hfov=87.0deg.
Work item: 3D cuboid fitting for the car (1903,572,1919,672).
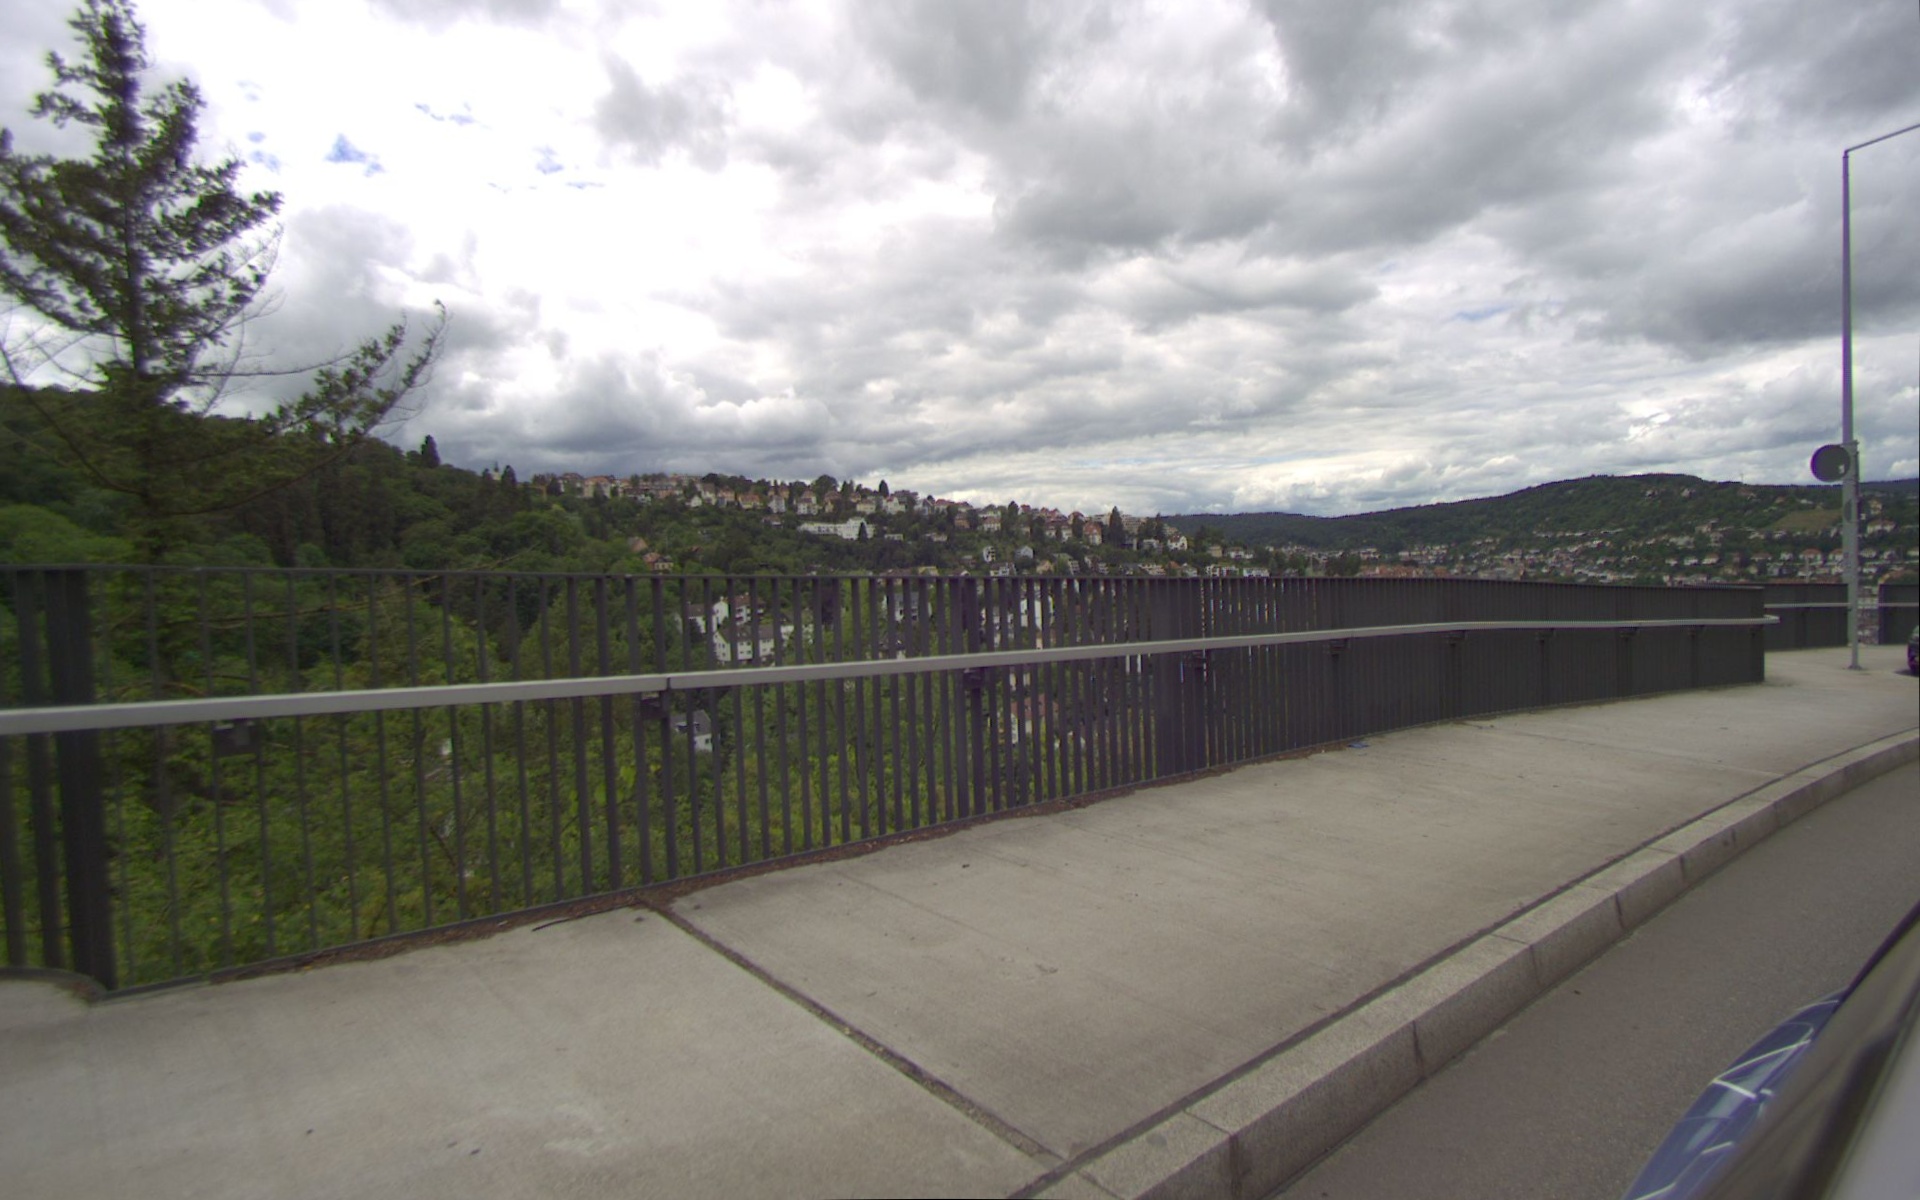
[{"bbox_3d":[17.236,0.362,16.114,4.005,1.562,1.884,0,2,-25],"label":"car"}]
